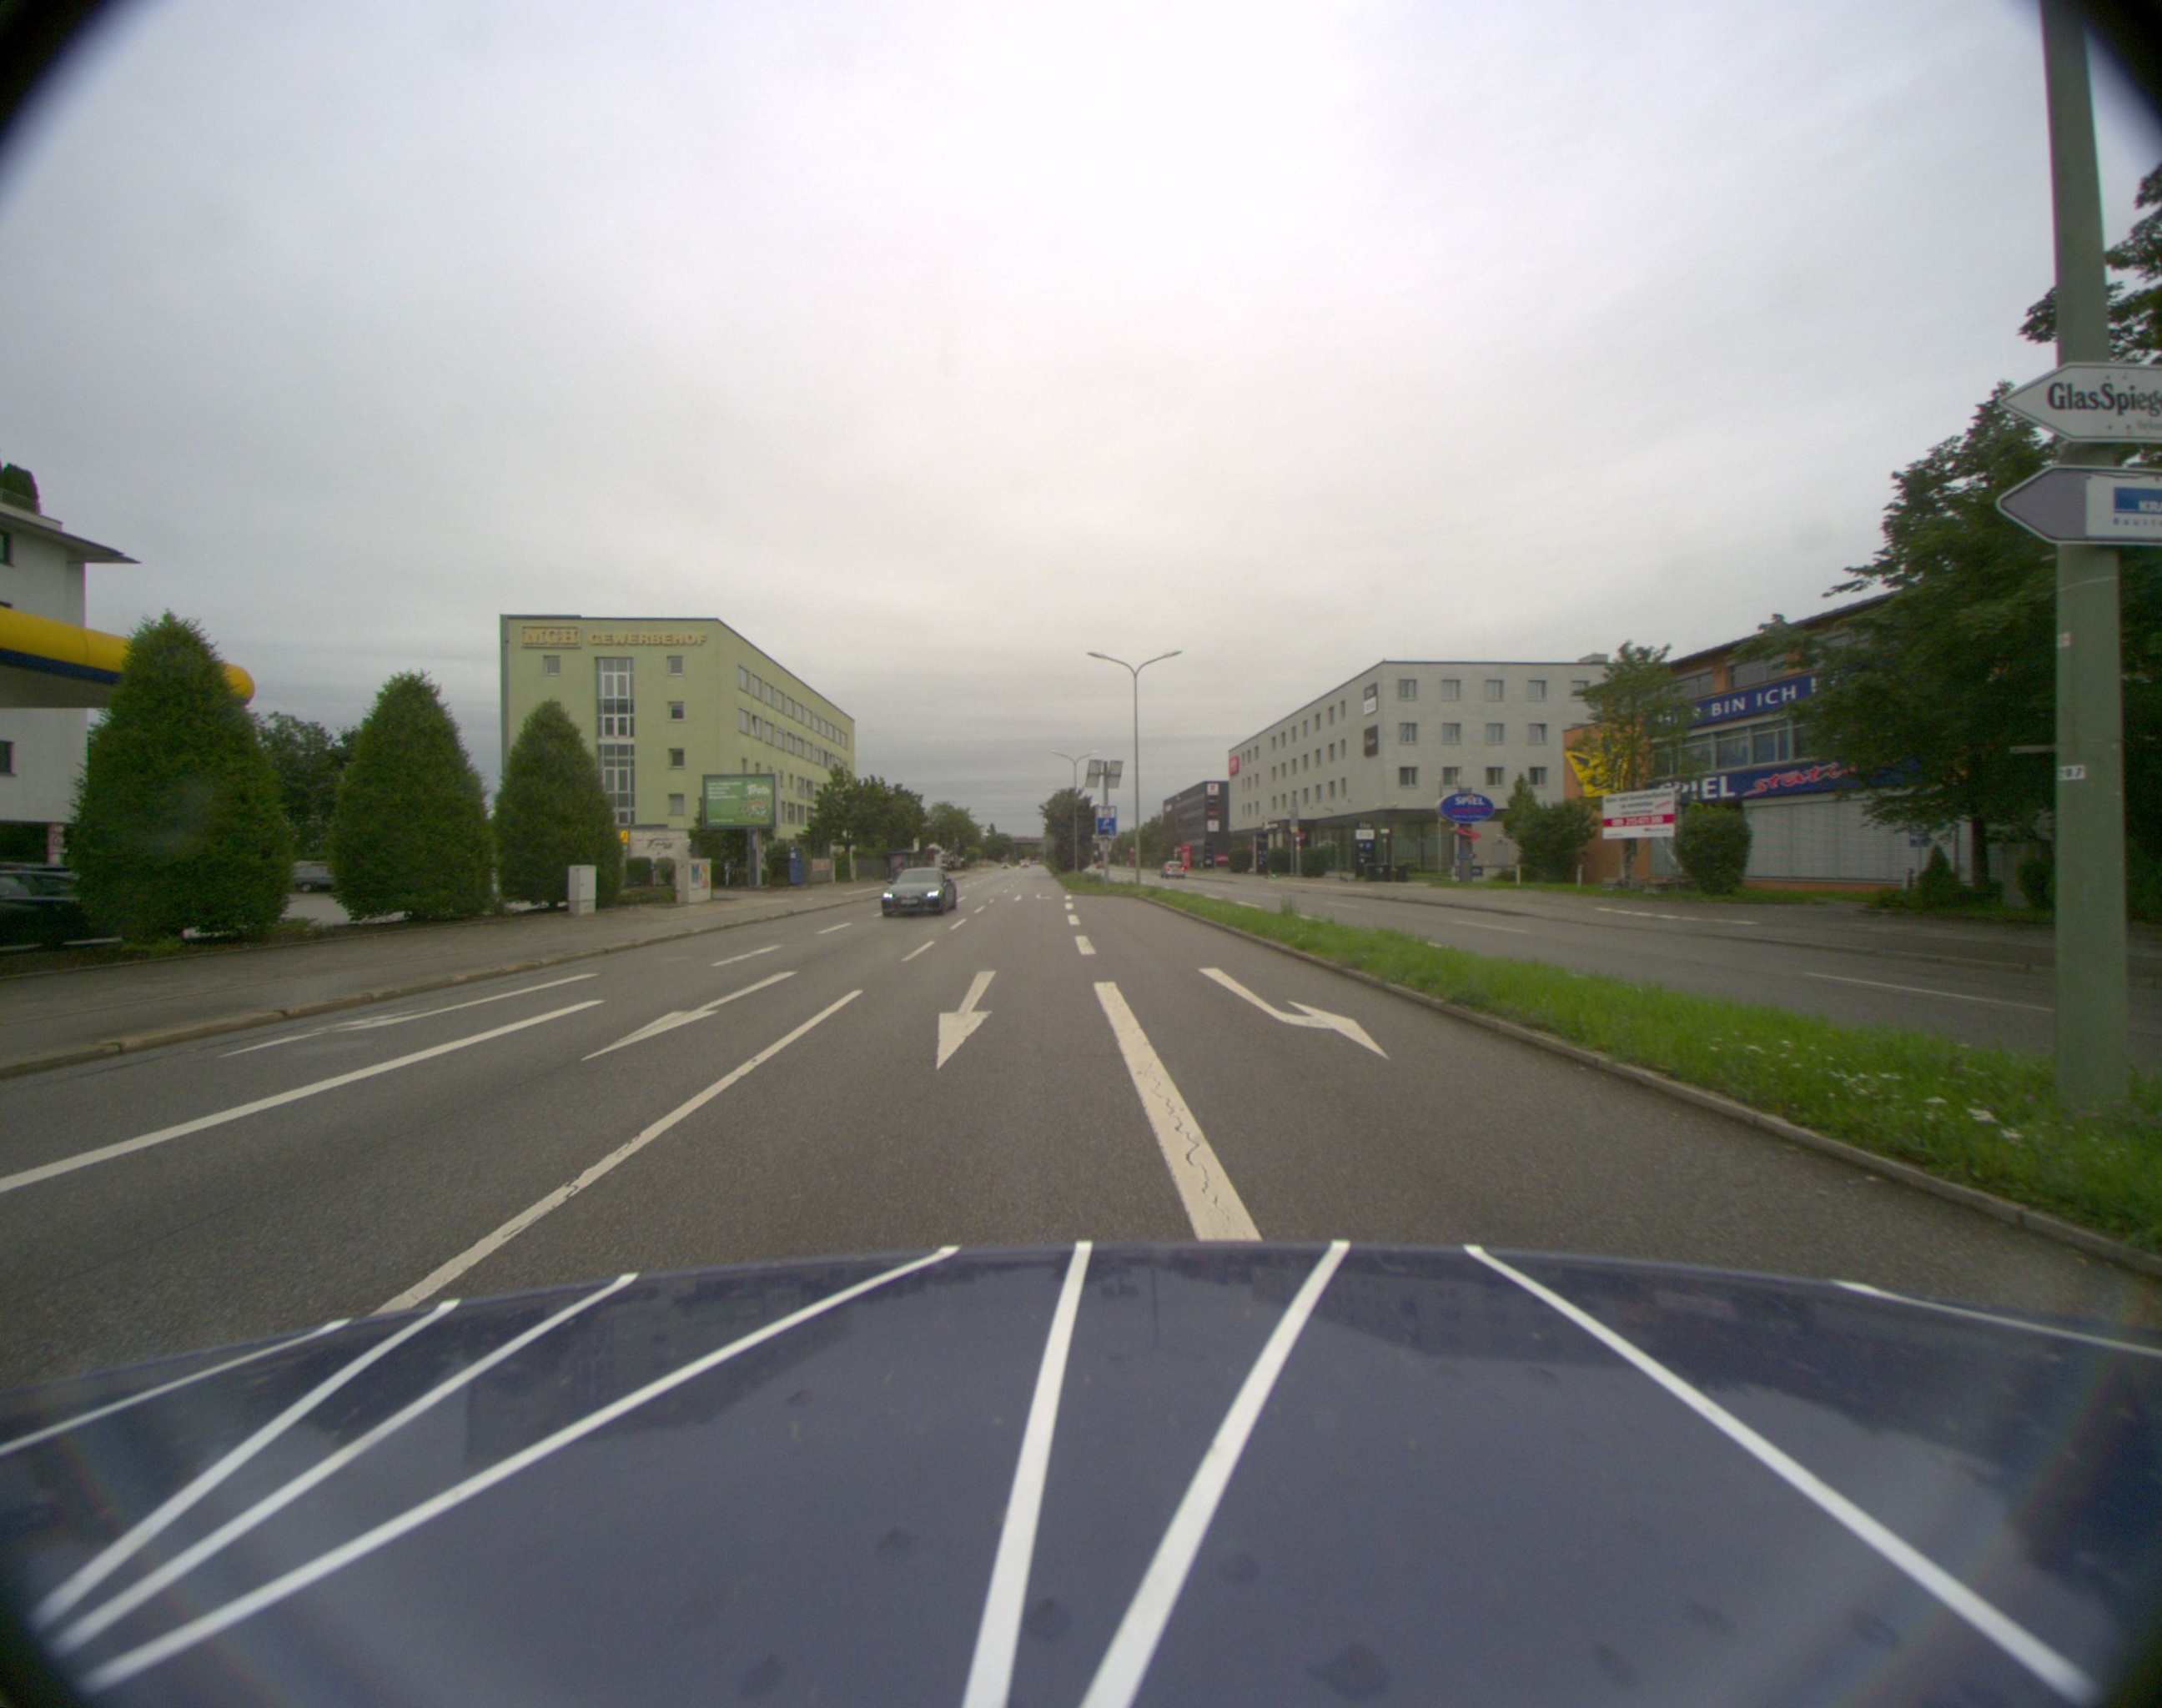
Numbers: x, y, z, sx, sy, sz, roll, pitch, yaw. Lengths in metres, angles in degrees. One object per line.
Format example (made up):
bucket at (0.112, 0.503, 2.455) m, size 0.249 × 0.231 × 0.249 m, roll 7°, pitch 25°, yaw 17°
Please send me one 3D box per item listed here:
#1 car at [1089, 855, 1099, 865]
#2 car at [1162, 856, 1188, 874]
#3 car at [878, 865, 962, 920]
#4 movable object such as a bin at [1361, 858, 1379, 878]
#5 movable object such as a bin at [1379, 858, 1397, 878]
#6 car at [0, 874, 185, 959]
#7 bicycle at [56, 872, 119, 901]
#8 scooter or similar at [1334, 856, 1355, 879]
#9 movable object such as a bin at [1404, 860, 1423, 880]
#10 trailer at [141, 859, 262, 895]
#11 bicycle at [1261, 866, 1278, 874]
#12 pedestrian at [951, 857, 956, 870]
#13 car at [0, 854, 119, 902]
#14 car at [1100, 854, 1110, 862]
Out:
car at (2.644, 1.205, 155.599) m, size 1.817 × 2.002 × 3.832 m, roll 1°, pitch 0°, yaw -1°
car at (8.774, 1.014, 71.306) m, size 1.819 × 1.548 × 4.025 m, roll 0°, pitch 0°, yaw -2°
car at (-5.083, 1.168, 24.589) m, size 1.916 × 1.498 × 4.438 m, roll -2°, pitch 0°, yaw -2°
movable object such as a bin at (16.623, 0.795, 43.724) m, size 0.739 × 1.072 × 0.655 m, roll -2°, pitch 1°, yaw -2°
movable object such as a bin at (17.392, 0.790, 43.083) m, size 0.739 × 1.072 × 0.655 m, roll -2°, pitch 1°, yaw -2°
car at (-18.777, 1.093, 13.202) m, size 1.800 × 1.324 × 3.998 m, roll -2°, pitch 0°, yaw -4°
bicycle at (-41.425, 1.346, 31.705) m, size 0.449 × 1.109 × 1.873 m, roll -2°, pitch 0°, yaw -12°
scooter or similar at (15.897, 0.807, 45.860) m, size 0.587 × 1.270 × 1.403 m, roll -5°, pitch 1°, yaw -2°
movable object such as a bin at (18.903, 0.900, 43.191) m, size 0.739 × 1.072 × 0.655 m, roll -2°, pitch 1°, yaw -2°
trailer at (-43.535, 1.116, 37.671) m, size 3.808 × 1.640 × 1.634 m, roll -2°, pitch 0°, yaw -4°
bicycle at (14.051, 1.198, 56.539) m, size 0.722 × 0.545 × 1.732 m, roll -4°, pitch 0°, yaw -3°
pedestrian at (-18.322, 1.316, 109.320) m, size 0.683 × 1.811 × 0.688 m, roll -2°, pitch 1°, yaw -4°
car at (-36.586, 0.821, 26.334) m, size 3.999 × 1.578 × 1.706 m, roll -1°, pitch 0°, yaw -5°
car at (4.945, 0.801, 155.230) m, size 1.740 × 1.539 × 4.302 m, roll 0°, pitch 0°, yaw -3°
